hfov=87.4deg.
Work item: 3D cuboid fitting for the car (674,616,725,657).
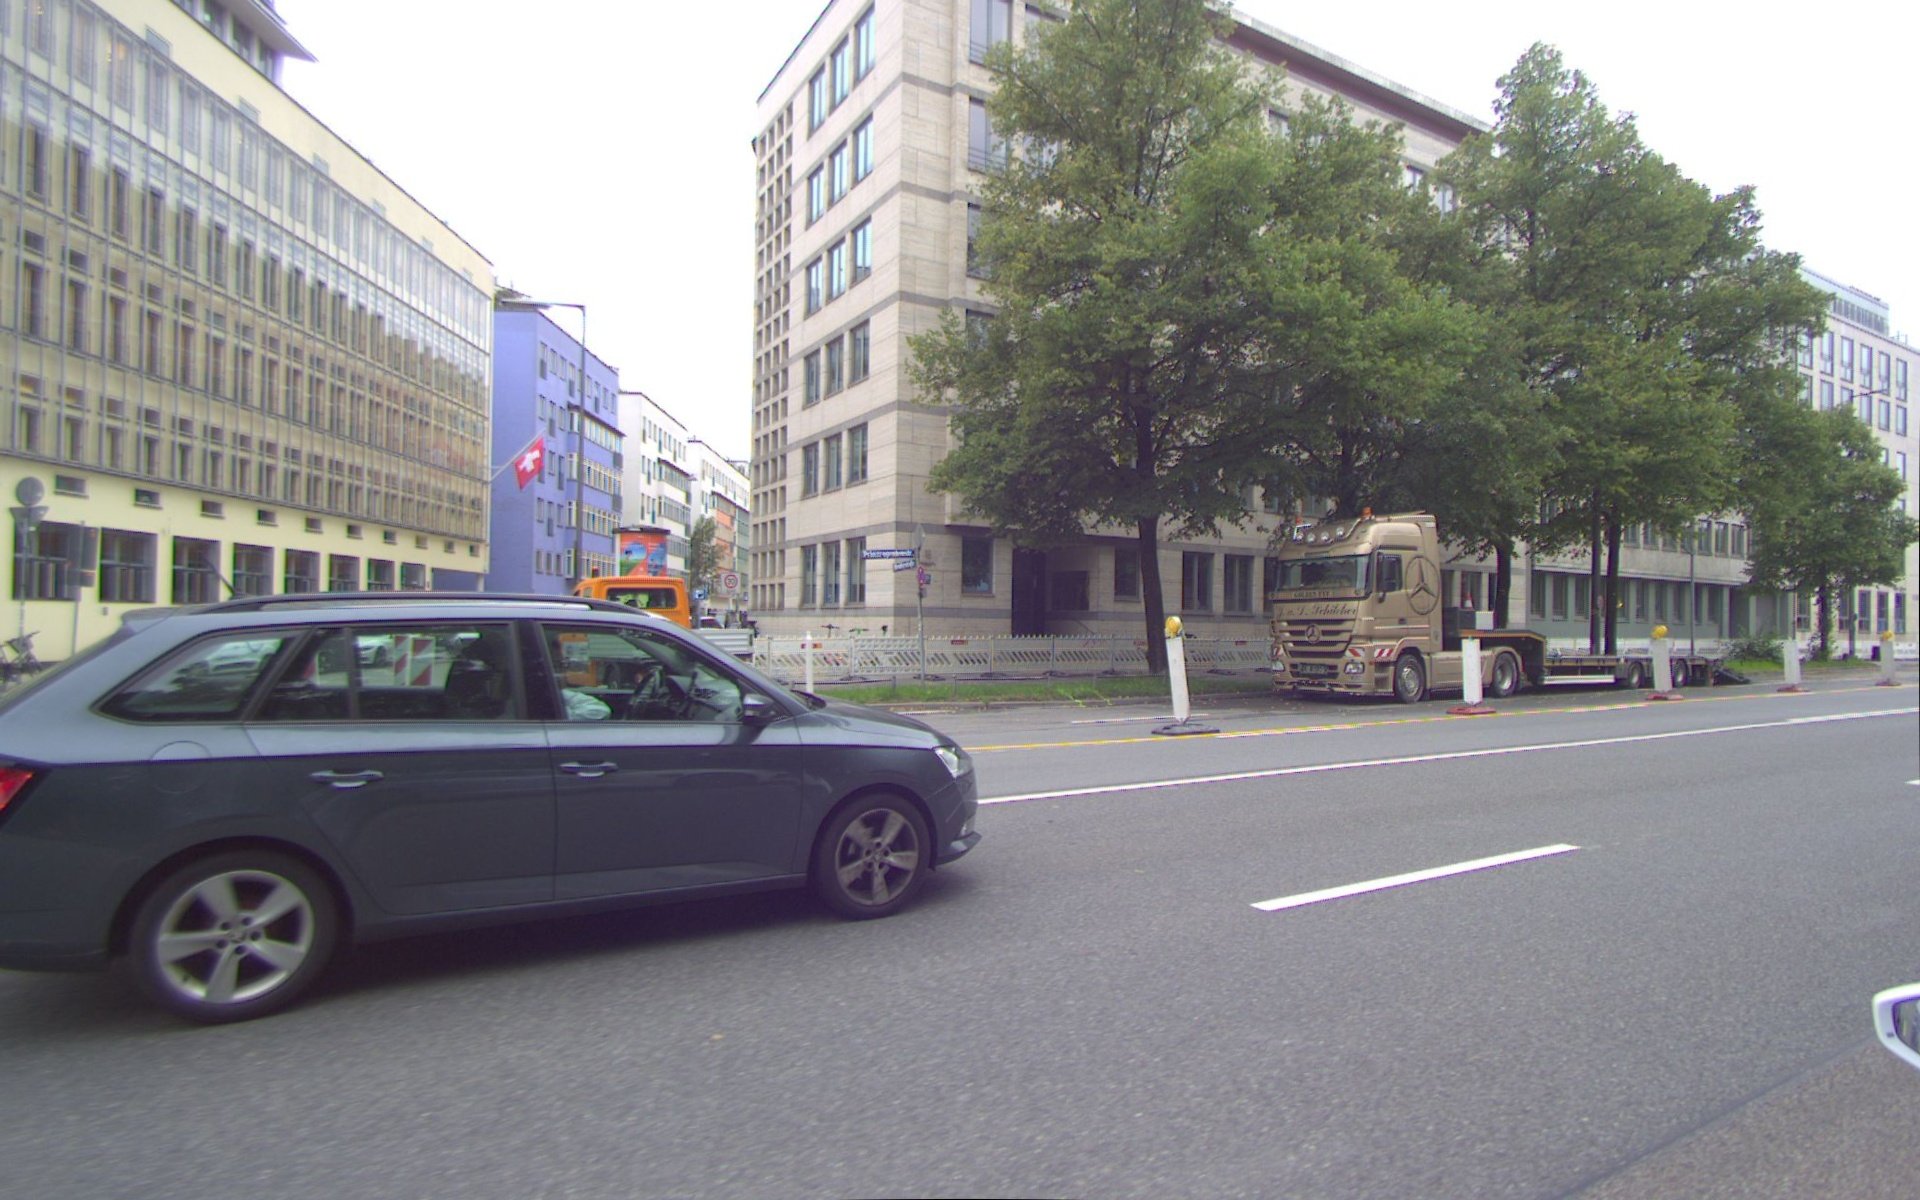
[{"bbox_3d":[-11.111,1.531,43.056,1.460,1.686,3.183,1,-1,-2],"label":"car"}]

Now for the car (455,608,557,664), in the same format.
[{"bbox_3d":[-17.053,1.325,38.004,1.719,1.935,5.071,1,-1,-2],"label":"car"}]

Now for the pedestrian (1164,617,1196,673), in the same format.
[{"bbox_3d":[7.009,1.423,32.031,0.755,1.755,0.576,1,0,-30],"label":"pedestrian"}]

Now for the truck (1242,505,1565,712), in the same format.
[{"bbox_3d":[9.858,0.220,21.973,7.588,3.825,2.897,2,0,-35],"label":"truck"}]

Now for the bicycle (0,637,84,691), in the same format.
[{"bbox_3d":[-19.109,1.287,20.512,0.574,1.034,1.847,0,-1,11],"label":"bicycle"}]

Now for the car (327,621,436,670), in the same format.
[{"bbox_3d":[-19.168,1.463,33.482,1.460,1.517,3.964,1,-1,-2],"label":"car"}]

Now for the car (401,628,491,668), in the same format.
[{"bbox_3d":[-19.971,1.834,39.199,1.708,1.477,3.671,1,-1,-2],"label":"car"}]

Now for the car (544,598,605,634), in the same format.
[{"bbox_3d":[-19.941,0.835,52.117,1.834,1.773,3.998,1,-1,-4],"label":"car"}]

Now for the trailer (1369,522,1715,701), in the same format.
[{"bbox_3d":[15.307,0.364,25.792,11.650,3.790,2.931,2,0,-35],"label":"trailer"}]

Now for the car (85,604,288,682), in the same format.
[{"bbox_3d":[-19.263,1.037,25.302,1.834,1.773,4.329,1,-1,-2],"label":"car"}]

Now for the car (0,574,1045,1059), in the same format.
[{"bbox_3d":[-1.835,0.717,4.731,4.226,1.466,1.784,2,-2,-31],"label":"car"}]

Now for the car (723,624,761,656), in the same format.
[{"bbox_3d":[-11.653,2.121,53.804,1.460,1.612,3.183,1,-1,-2],"label":"car"}]

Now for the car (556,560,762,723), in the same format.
[{"bbox_3d":[-5.813,0.711,18.829,2.134,2.570,5.646,1,-1,-34],"label":"car"}]
